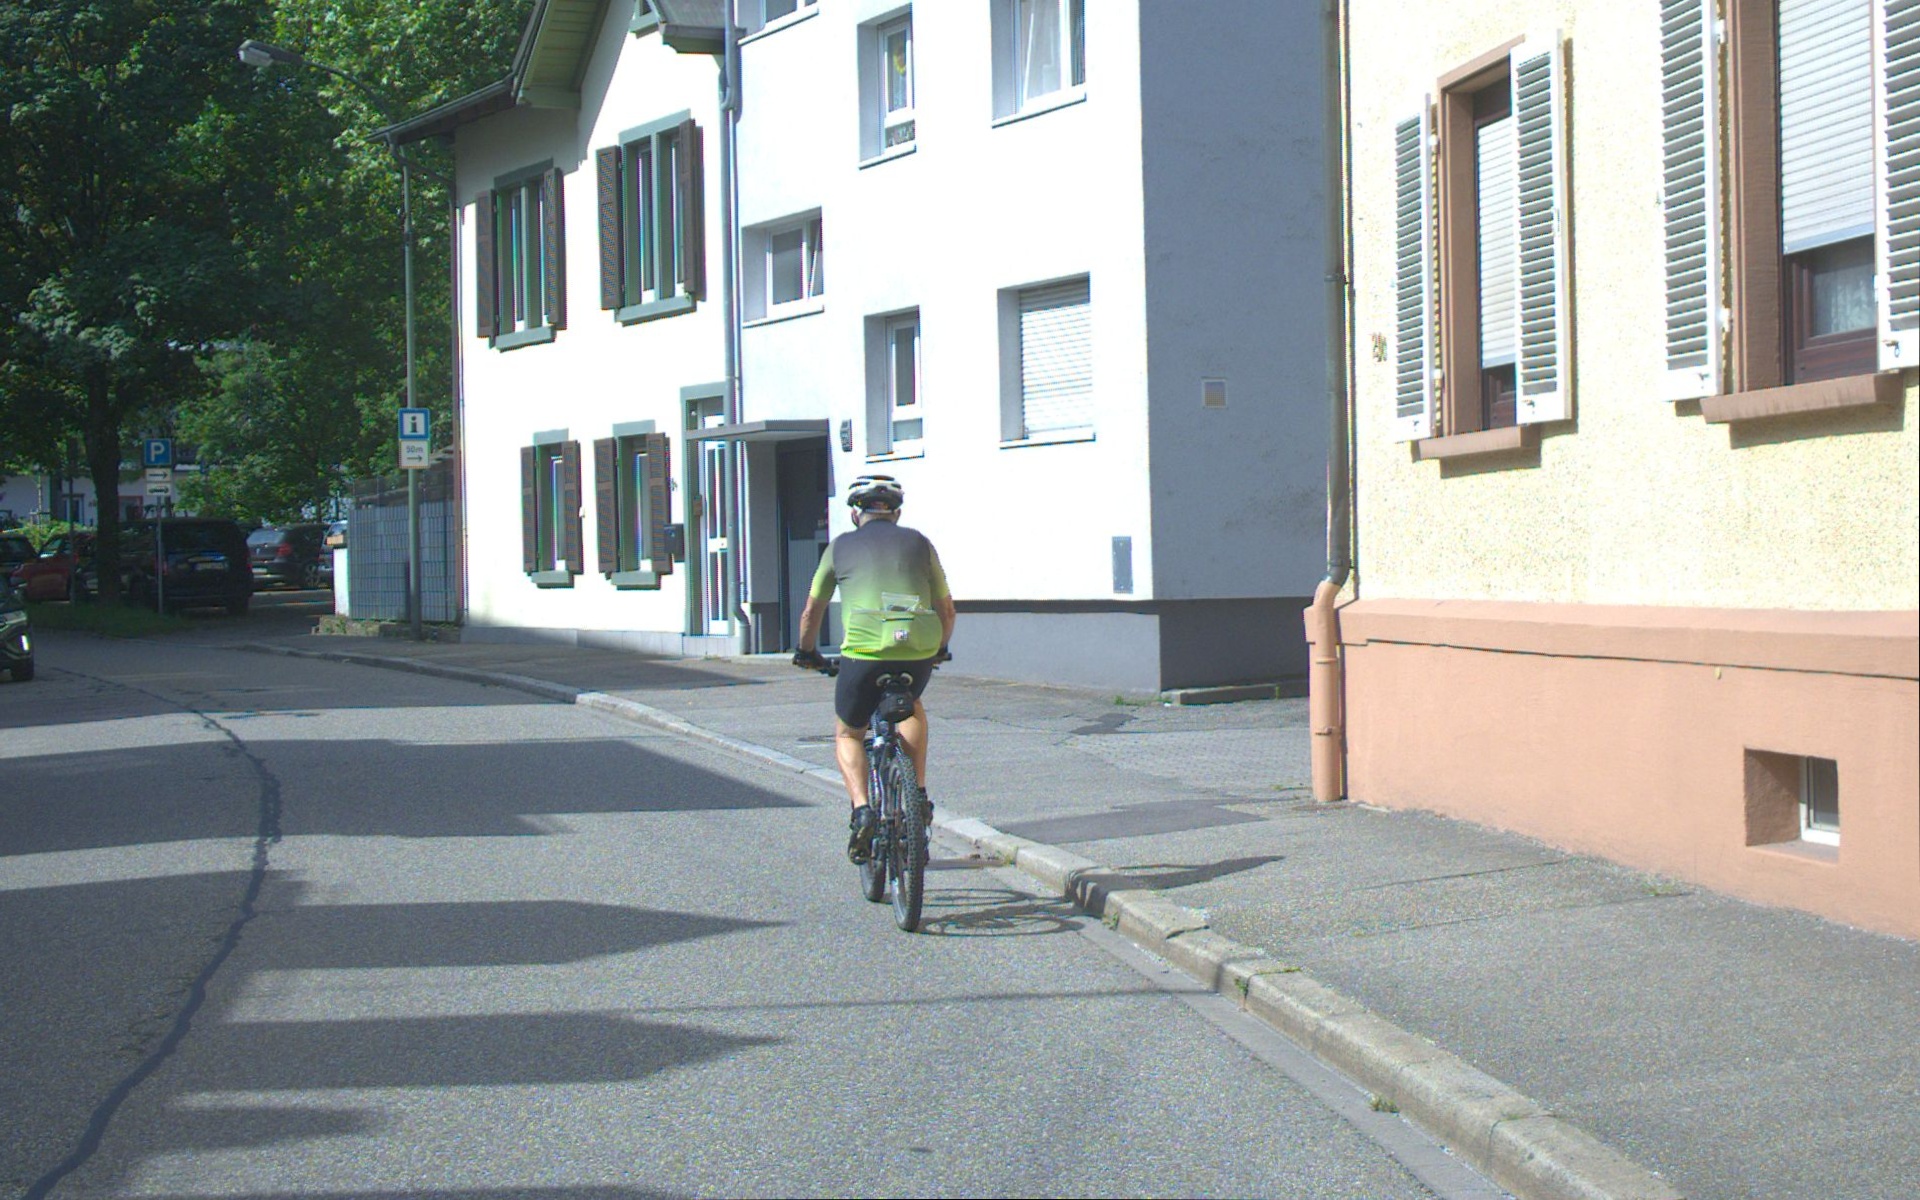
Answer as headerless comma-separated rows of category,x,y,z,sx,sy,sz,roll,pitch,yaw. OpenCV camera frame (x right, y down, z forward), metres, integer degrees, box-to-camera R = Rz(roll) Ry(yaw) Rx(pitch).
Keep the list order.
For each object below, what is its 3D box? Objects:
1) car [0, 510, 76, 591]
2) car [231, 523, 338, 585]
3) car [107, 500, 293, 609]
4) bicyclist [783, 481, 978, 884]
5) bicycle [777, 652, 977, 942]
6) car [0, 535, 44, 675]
car,-19.769,-1.041,70.918,1.708,1.537,4.000,-3,3,-34
car,-14.625,-1.006,74.316,1.582,1.253,3.859,-3,2,-21
car,-13.439,-0.834,60.676,1.822,1.784,4.000,-3,3,-34
bicyclist,-0.323,0.310,13.557,0.685,1.526,0.716,-2,1,-4
bicycle,-0.348,0.748,13.606,0.698,1.032,1.471,0,1,-5
car,-11.929,0.092,39.958,1.823,1.532,4.001,-5,2,-23
